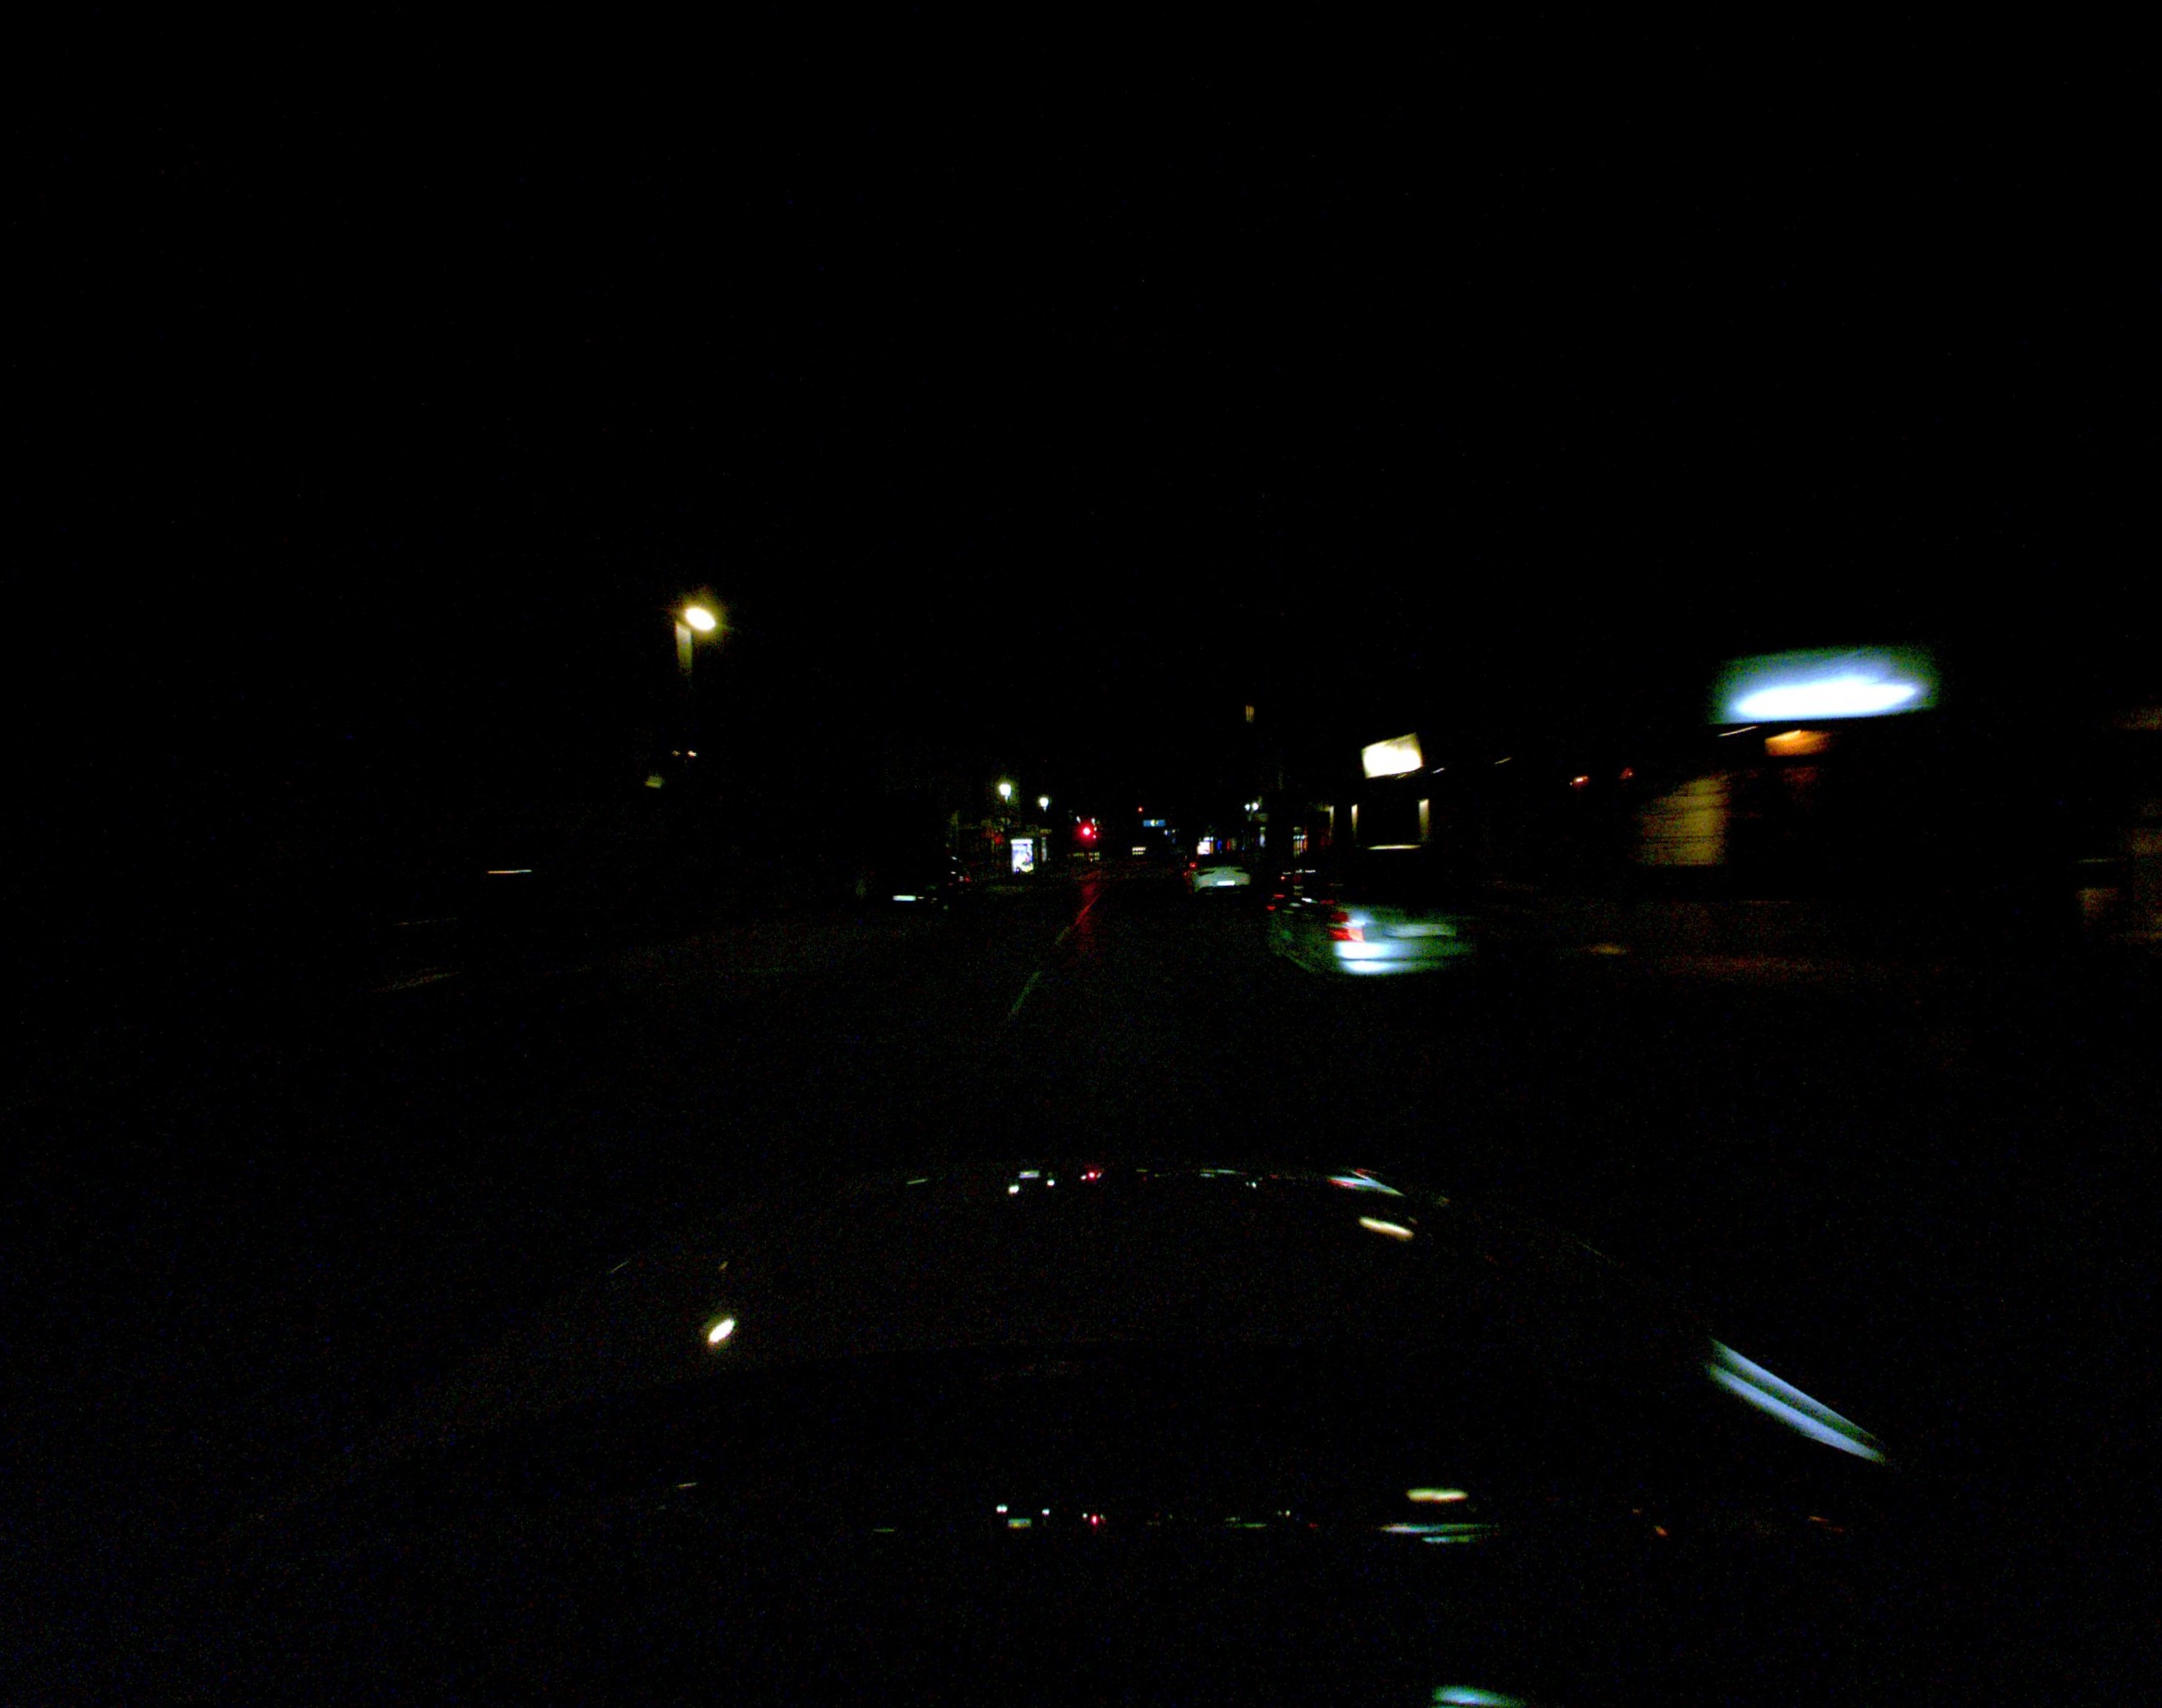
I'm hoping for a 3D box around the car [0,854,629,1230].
[{"bbox_3d":[-4.764,0.792,5.157,1.686,1.524,3.691,0,-1,1],"label":"car"}]

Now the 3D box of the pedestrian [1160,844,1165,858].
[{"bbox_3d":[10.496,-0.363,104.837,0.565,1.795,0.719,0,-1,4],"label":"pedestrian"}]

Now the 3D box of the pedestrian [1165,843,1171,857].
[{"bbox_3d":[10.883,-0.476,102.046,0.731,1.795,0.719,0,-1,4],"label":"pedestrian"}]

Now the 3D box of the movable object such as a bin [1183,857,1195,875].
[{"bbox_3d":[5.815,0.653,43.703,0.523,0.937,0.628,0,-1,-4],"label":"movable object such as a bin"}]

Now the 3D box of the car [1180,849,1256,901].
[{"bbox_3d":[4.307,0.613,26.229,1.849,1.442,4.598,-2,0,3],"label":"car"}]

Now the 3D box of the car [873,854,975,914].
[{"bbox_3d":[-4.210,0.753,22.453,1.684,1.436,4.133,1,0,5],"label":"car"}]

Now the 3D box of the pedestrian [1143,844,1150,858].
[{"bbox_3d":[8.163,-0.342,101.535,0.711,1.795,0.571,0,-1,14],"label":"pedestrian"}]

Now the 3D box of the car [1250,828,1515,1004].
[{"bbox_3d":[3.383,0.601,10.110,1.780,1.641,4.383,-3,0,3],"label":"car"}]
